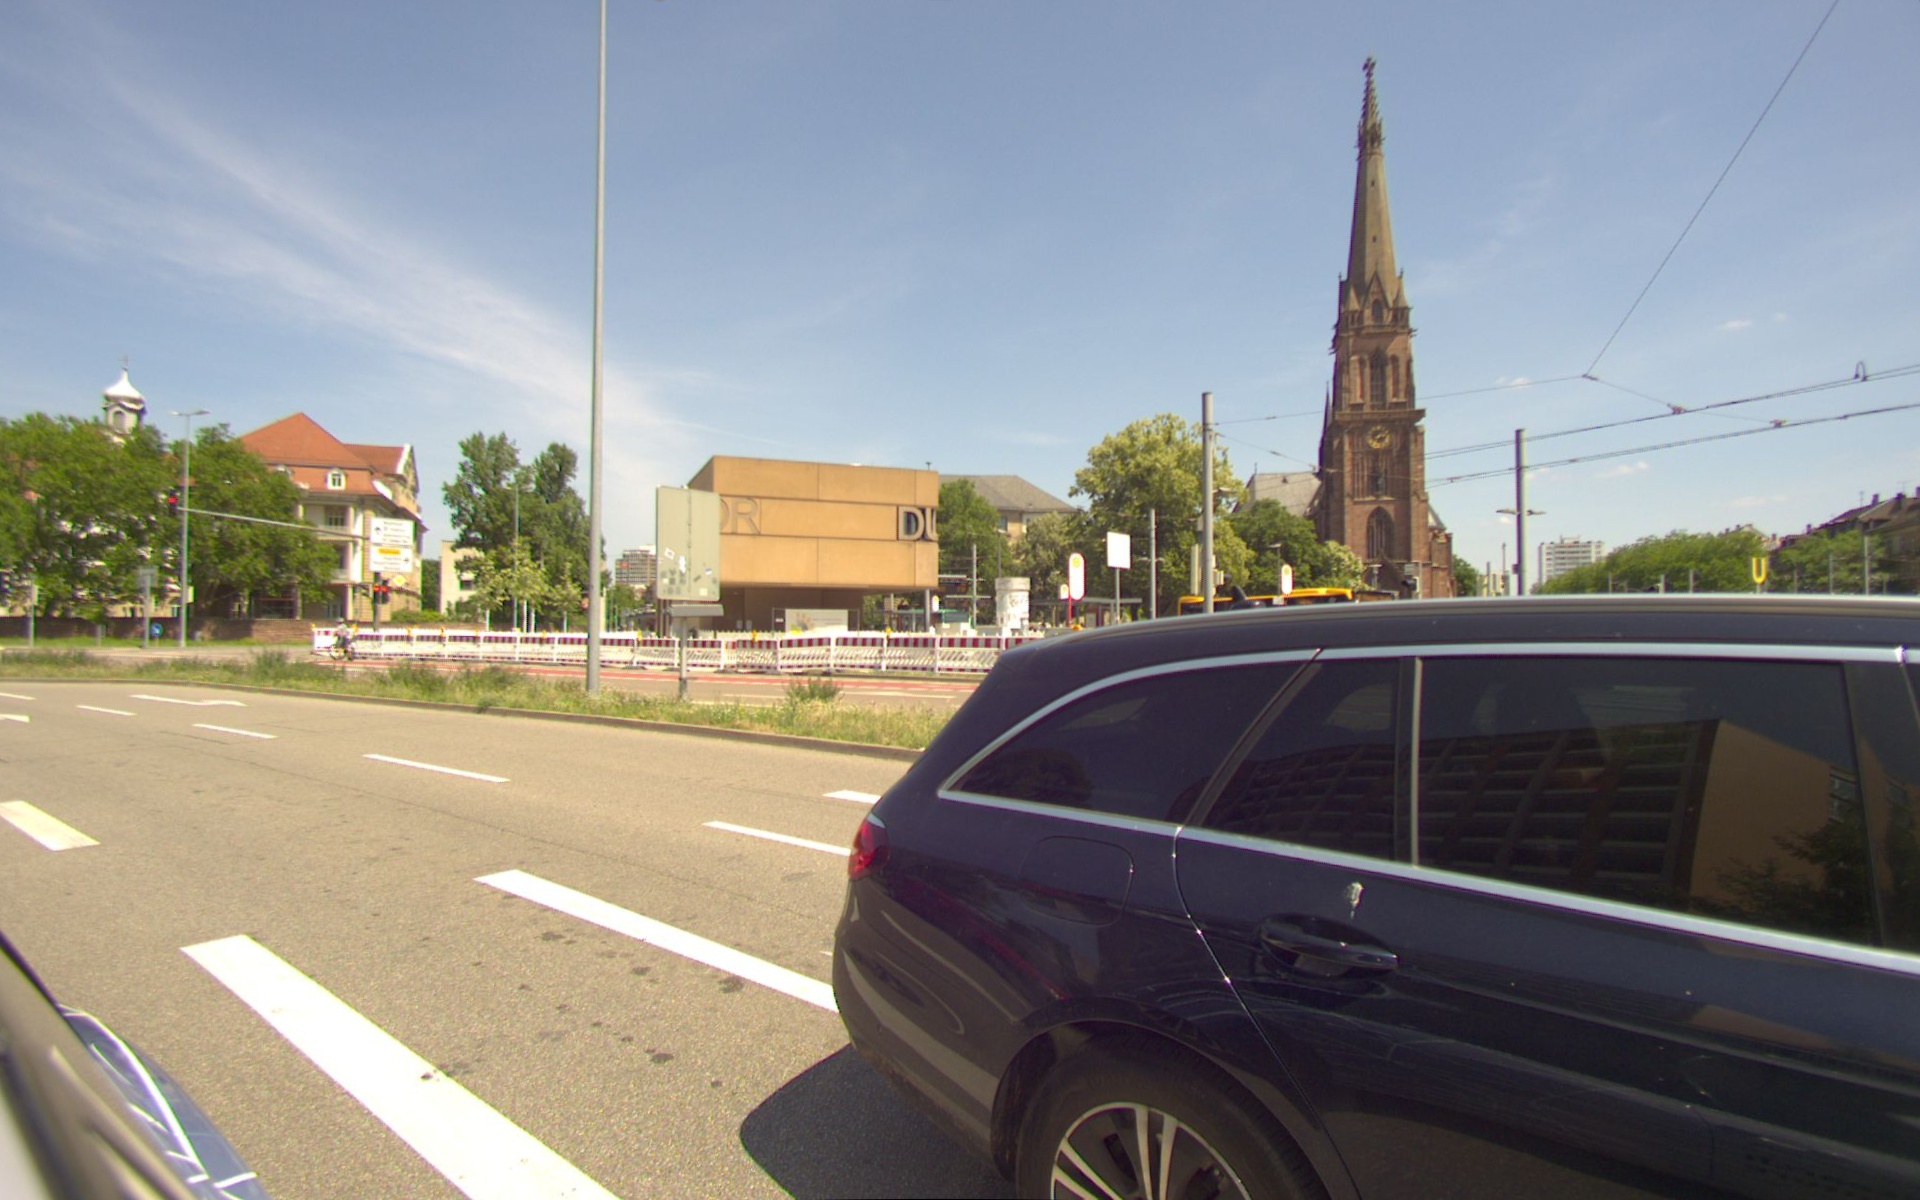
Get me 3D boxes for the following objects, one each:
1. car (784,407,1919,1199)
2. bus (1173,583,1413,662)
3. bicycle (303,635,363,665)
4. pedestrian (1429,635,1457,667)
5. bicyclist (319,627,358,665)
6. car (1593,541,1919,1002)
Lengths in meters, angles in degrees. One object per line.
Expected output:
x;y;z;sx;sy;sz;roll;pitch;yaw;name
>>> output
1.965;0.606;1.440;4.803;1.653;1.778;-2;-1;42;car
14.191;1.080;45.005;2.807;3.039;12.259;1;-2;-22;bus
-23.410;1.854;37.788;2.220;1.080;0.871;-1;0;26;bicycle
20.966;2.203;43.967;0.518;1.344;1.001;1;-2;-17;pedestrian
-23.258;1.701;37.862;1.432;1.366;0.581;-1;0;26;bicyclist
4.561;0.589;3.531;3.736;1.588;1.725;-2;-3;42;car
